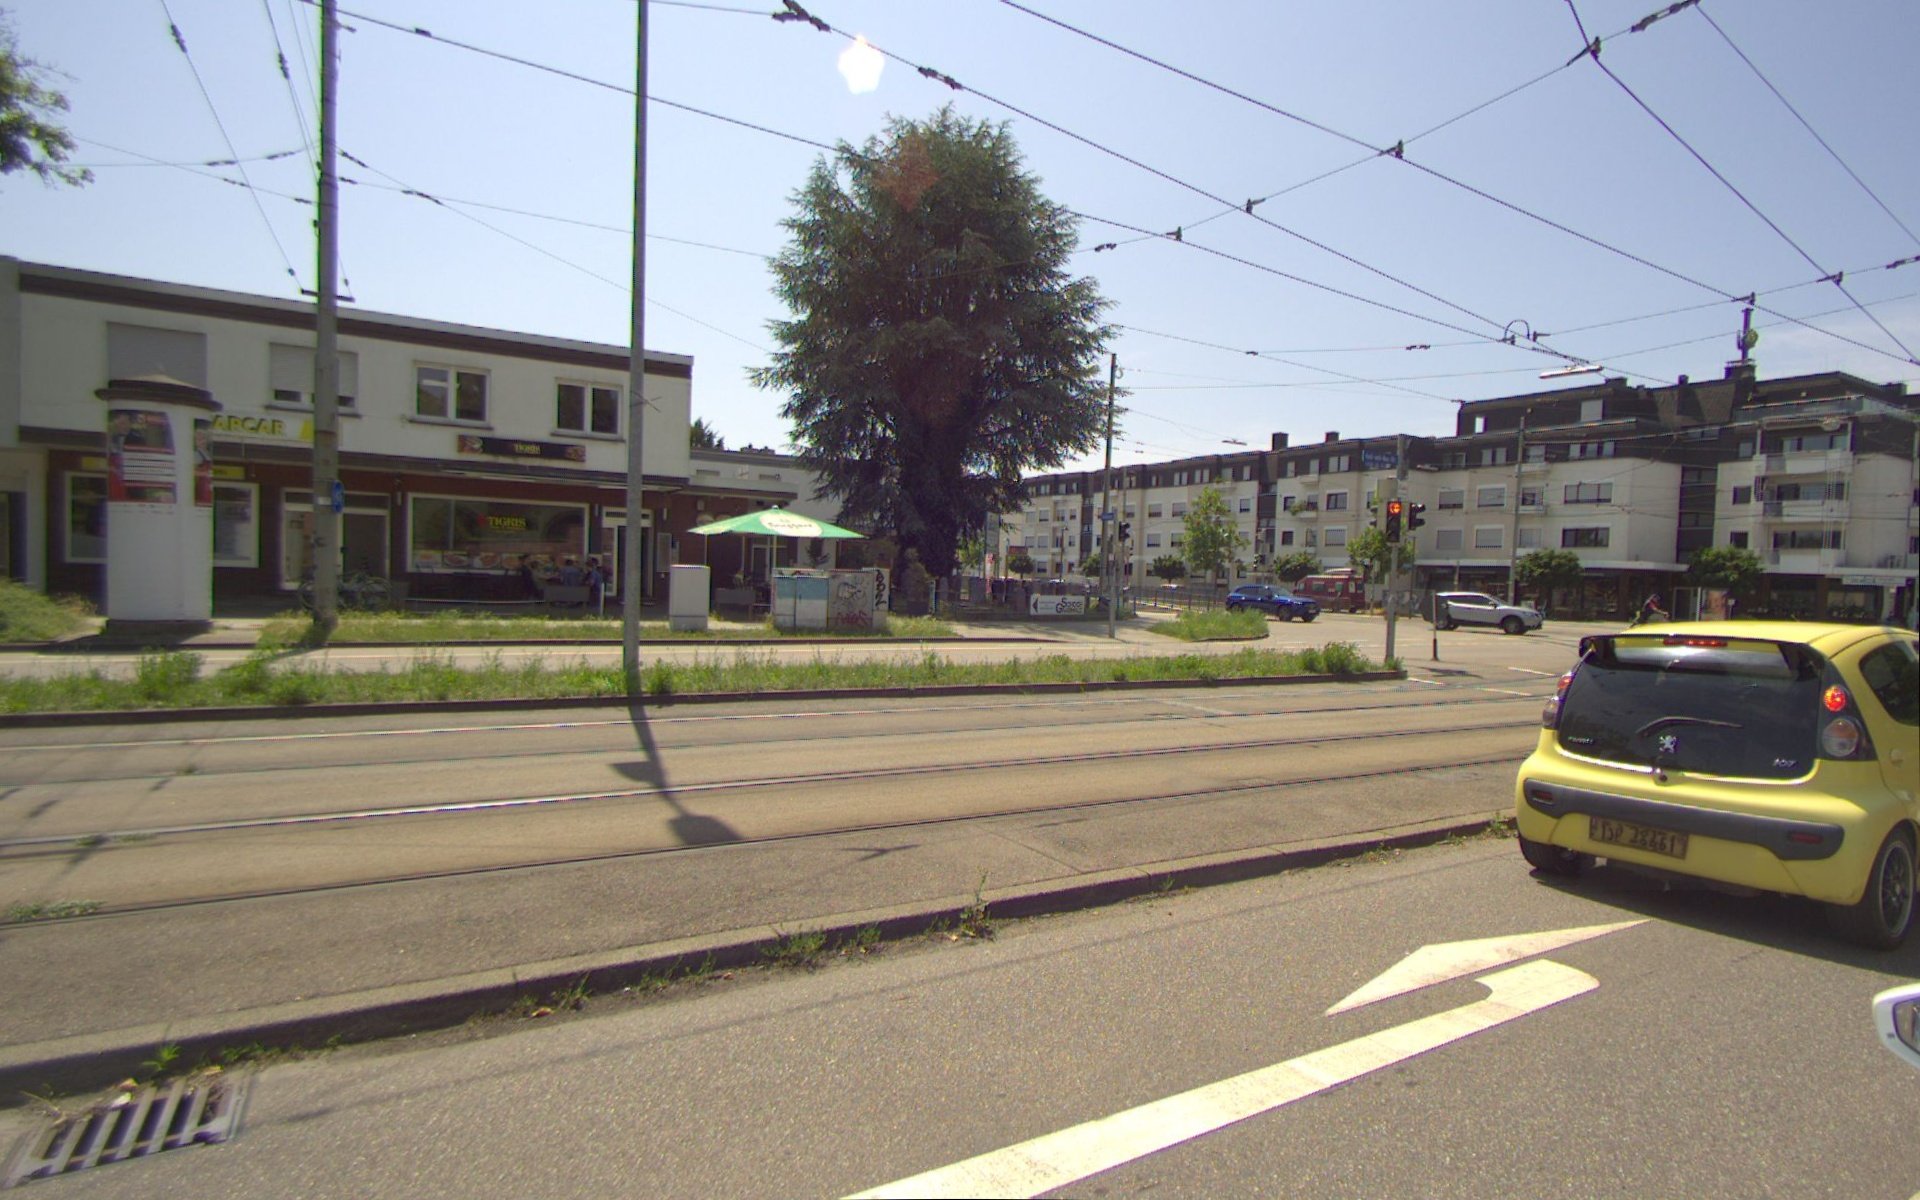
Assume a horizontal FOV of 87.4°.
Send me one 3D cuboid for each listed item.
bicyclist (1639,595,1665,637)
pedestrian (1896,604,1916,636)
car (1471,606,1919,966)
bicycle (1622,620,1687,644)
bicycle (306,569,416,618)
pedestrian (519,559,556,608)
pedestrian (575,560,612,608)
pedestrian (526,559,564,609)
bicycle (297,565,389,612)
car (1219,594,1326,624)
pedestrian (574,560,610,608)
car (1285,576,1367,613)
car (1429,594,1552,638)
[{"bbox_3d":[25.877,0.596,37.572,0.741,1.521,0.480,2,0,39],"label":"bicyclist"},{"bbox_3d":[53.125,1.125,56.417,0.598,1.777,0.506,2,0,16],"label":"pedestrian"},{"bbox_3d":[4.687,0.784,5.714,3.254,1.464,1.715,1,0,-31],"label":"car"},{"bbox_3d":[25.927,1.180,37.526,1.956,0.793,0.464,2,0,40],"label":"bicycle"},{"bbox_3d":[-13.087,-0.126,22.011,2.006,0.992,0.607,2,0,-30],"label":"bicycle"},{"bbox_3d":[-11.470,-0.443,27.297,0.832,1.285,0.586,2,0,-30],"label":"pedestrian"},{"bbox_3d":[-10.001,-0.432,27.417,0.832,1.285,0.586,2,0,-30],"label":"pedestrian"},{"bbox_3d":[-11.053,-0.432,26.771,0.832,1.285,0.586,2,0,-30],"label":"pedestrian"},{"bbox_3d":[-14.095,-0.249,23.004,1.738,0.992,0.536,2,0,-30],"label":"bicycle"},{"bbox_3d":[14.763,0.414,47.742,1.919,1.253,4.741,2,0,-33],"label":"car"},{"bbox_3d":[-10.252,-0.445,27.972,0.832,1.285,0.586,2,0,-30],"label":"pedestrian"},{"bbox_3d":[25.023,-0.391,68.848,2.219,2.372,5.038,2,0,-31],"label":"car"},{"bbox_3d":[21.547,0.641,40.890,4.091,1.605,1.930,2,0,41],"label":"car"}]
